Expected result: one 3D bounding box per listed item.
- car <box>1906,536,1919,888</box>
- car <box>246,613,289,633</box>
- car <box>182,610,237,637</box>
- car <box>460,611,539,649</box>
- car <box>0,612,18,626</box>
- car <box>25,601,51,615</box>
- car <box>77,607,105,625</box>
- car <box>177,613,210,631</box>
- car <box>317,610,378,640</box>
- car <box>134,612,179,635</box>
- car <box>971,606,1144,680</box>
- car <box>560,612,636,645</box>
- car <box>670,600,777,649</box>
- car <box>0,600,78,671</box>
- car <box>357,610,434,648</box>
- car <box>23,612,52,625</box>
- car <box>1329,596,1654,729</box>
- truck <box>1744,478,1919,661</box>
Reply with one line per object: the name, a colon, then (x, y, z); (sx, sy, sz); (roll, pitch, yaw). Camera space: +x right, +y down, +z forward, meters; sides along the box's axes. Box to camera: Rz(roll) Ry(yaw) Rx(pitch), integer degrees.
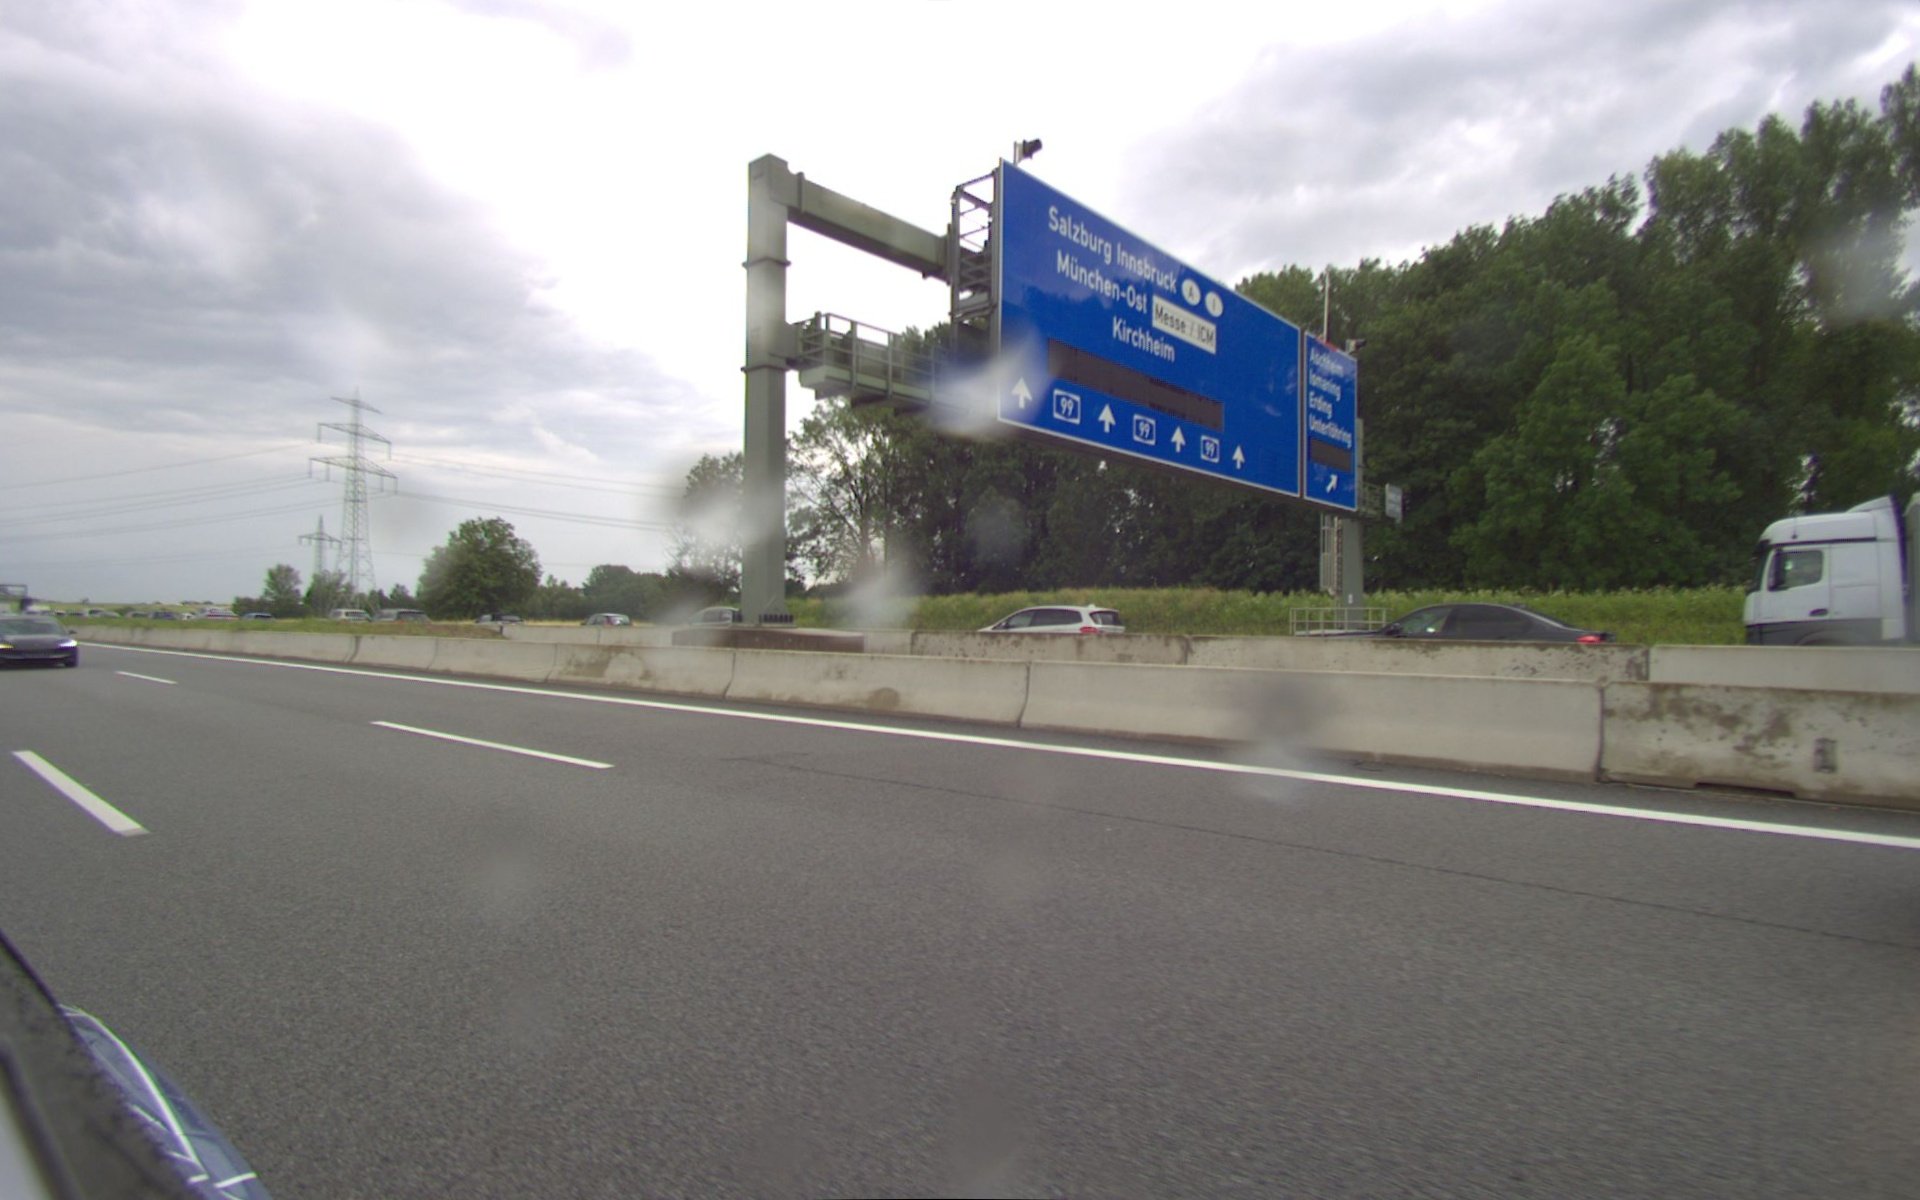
car: (6.246, 0.527, 3.055); (4.850, 1.702, 1.796); (-1, -1, 42)
car: (-49.696, 1.625, 72.606); (3.753, 1.422, 1.618); (-1, -1, 41)
car: (-48.454, 1.490, 65.330); (4.497, 1.710, 1.764); (-1, -1, 39)
car: (-21.940, 1.405, 48.169); (4.015, 1.740, 1.973); (-1, -1, 41)
car: (-124.075, 2.484, 131.622); (3.997, 1.744, 1.801); (-1, -1, 40)
car: (-129.136, 1.106, 141.711); (4.949, 1.985, 2.051); (-1, -1, 40)
car: (-97.296, 1.804, 113.288); (3.997, 1.922, 1.801); (-1, -1, 40)
car: (-64.095, 1.848, 84.582); (3.593, 1.422, 1.449); (-1, -1, 40)
car: (-37.030, 1.483, 61.139); (4.347, 1.710, 1.764); (-1, -1, 39)
car: (-60.302, 1.756, 75.928); (4.347, 1.625, 1.764); (-1, -1, 39)
car: (2.441, 1.039, 25.823); (4.015, 1.740, 1.973); (-1, -1, 41)
car: (-17.395, 1.362, 48.564); (4.015, 1.509, 1.736); (-1, -1, 41)
car: (-9.010, 0.898, 38.385); (4.015, 1.740, 1.973); (-1, -1, 41)
car: (-26.035, 0.937, 28.066); (5.164, 1.834, 1.971); (-1, -1, 44)
car: (-25.480, 1.292, 45.623); (3.998, 1.627, 1.778); (-1, -1, 41)
car: (-98.467, 1.977, 108.025); (3.997, 1.422, 1.801); (-1, -1, 40)
car: (7.972, 0.840, 15.355); (4.015, 1.740, 1.973); (-1, -1, 41)
truck: (19.840, -0.603, 20.487); (6.097, 3.534, 3.103); (-1, -1, 41)
